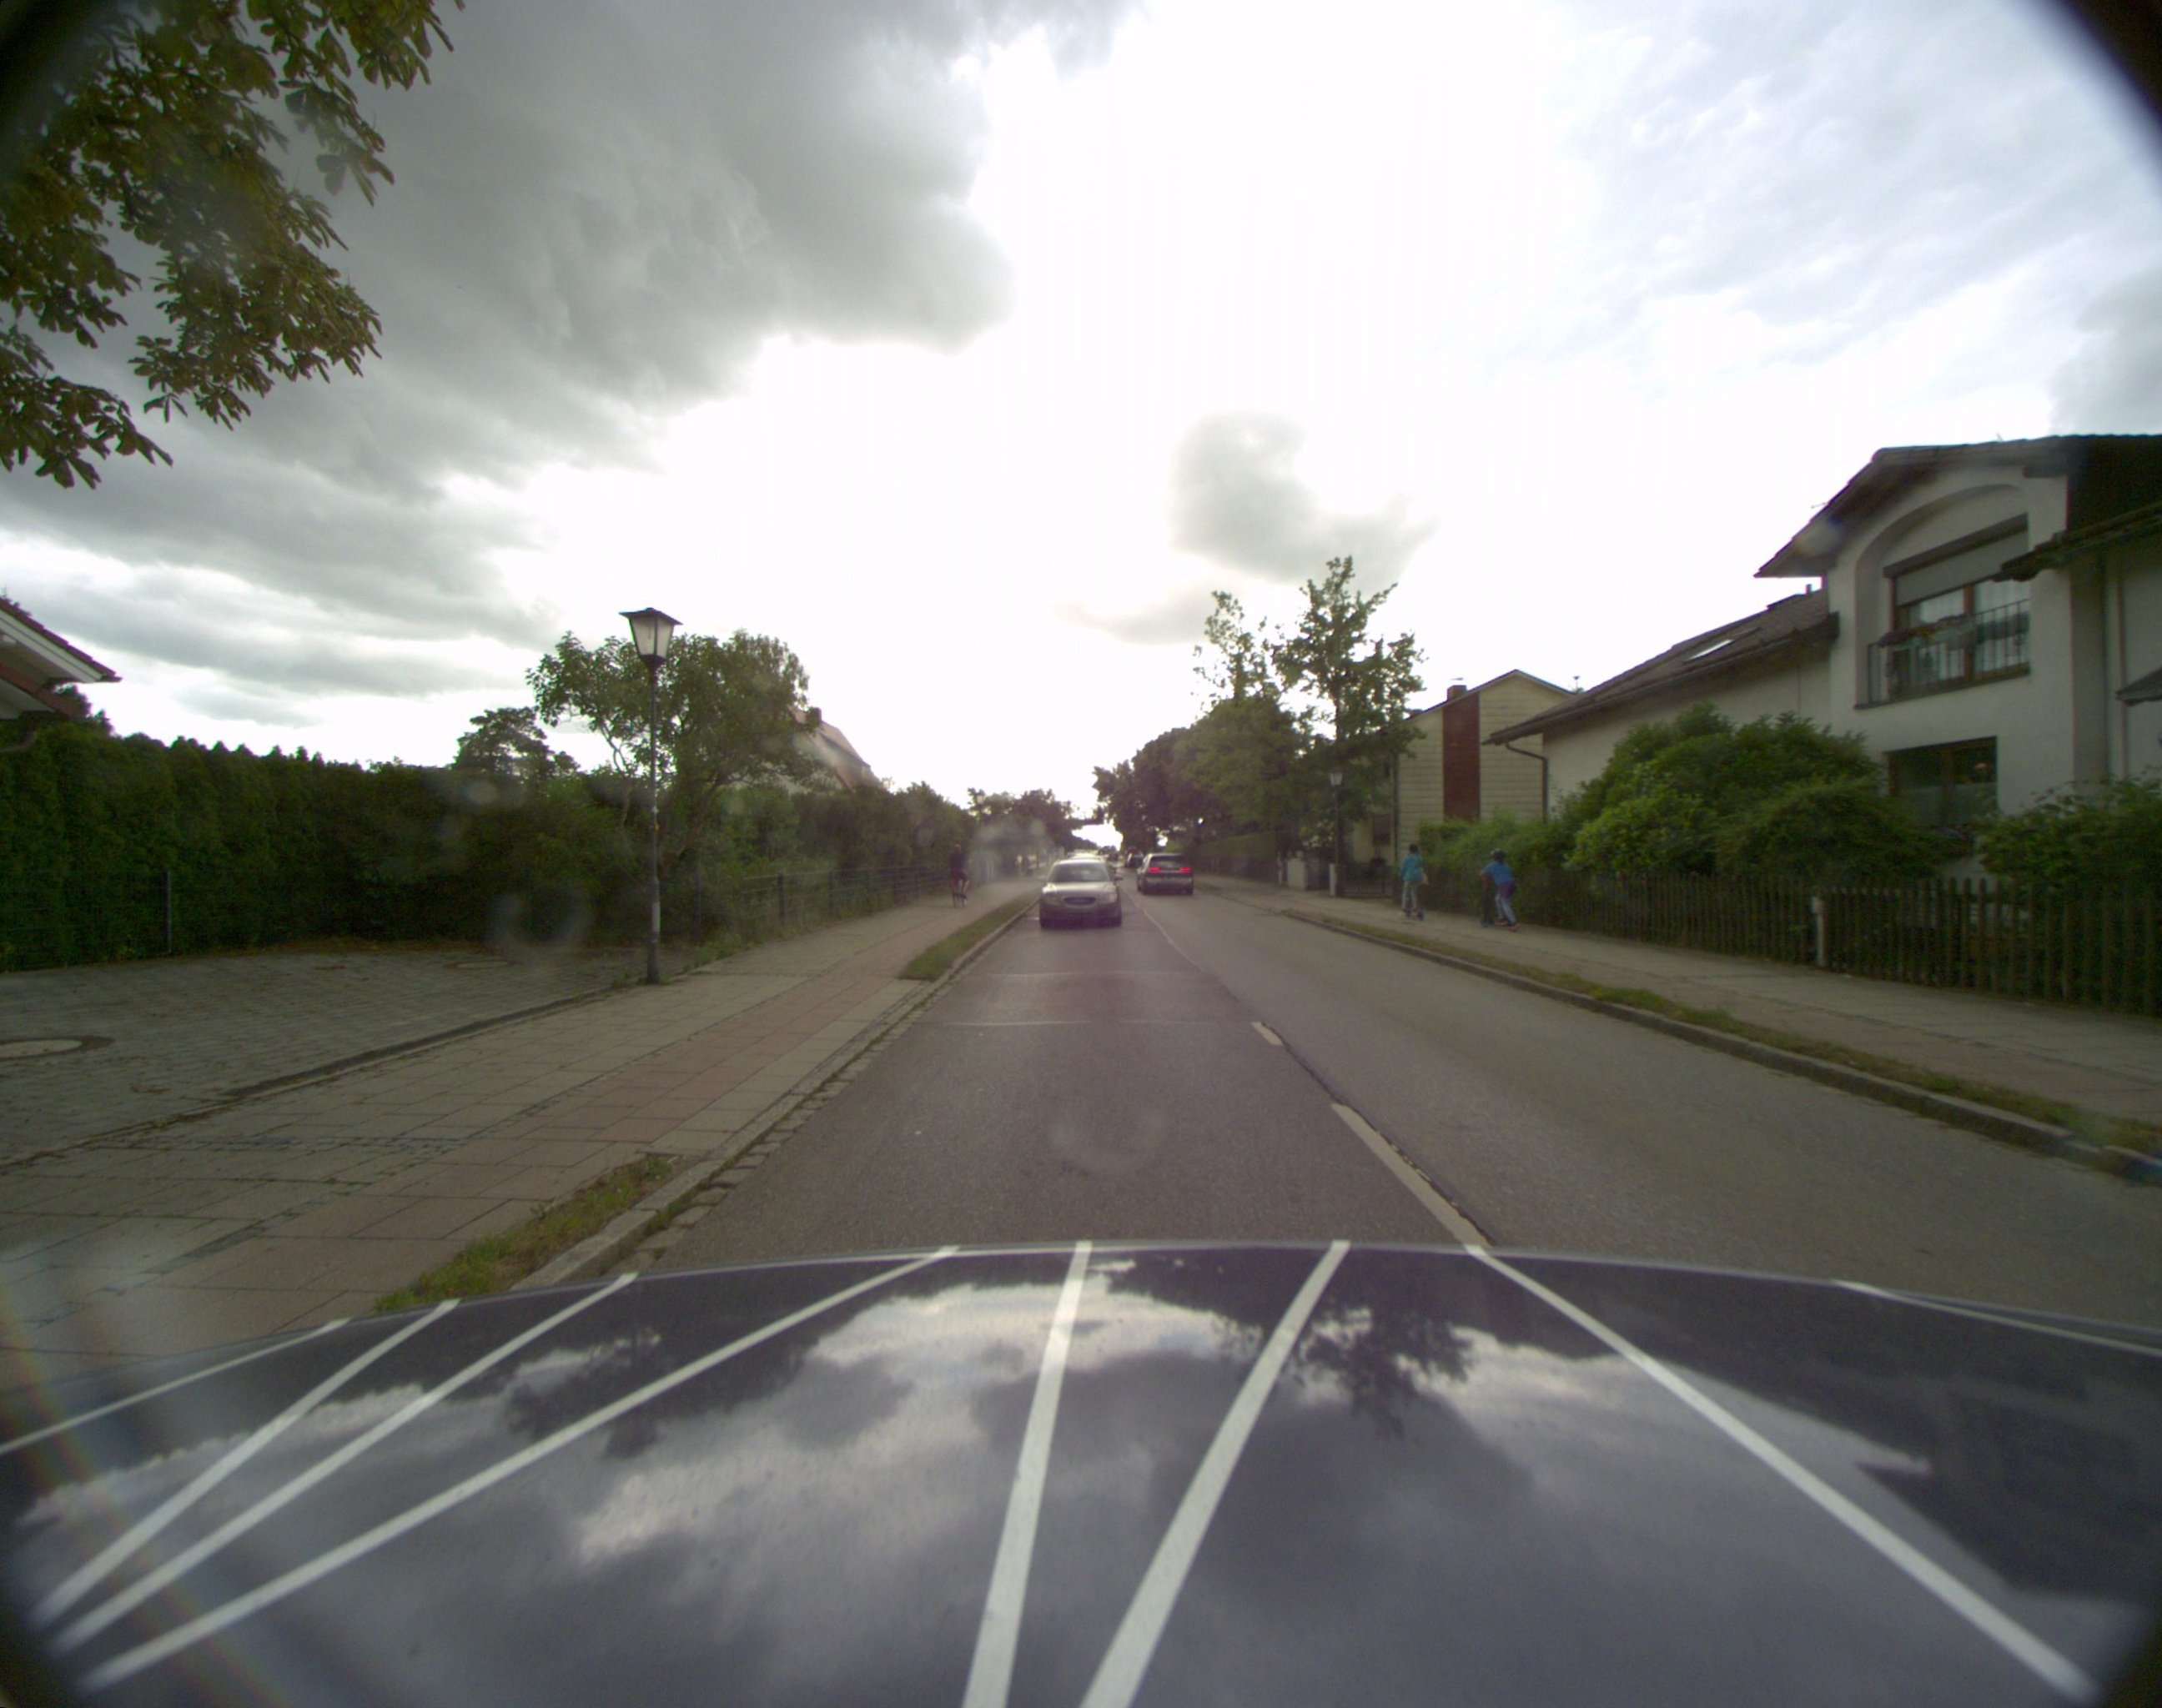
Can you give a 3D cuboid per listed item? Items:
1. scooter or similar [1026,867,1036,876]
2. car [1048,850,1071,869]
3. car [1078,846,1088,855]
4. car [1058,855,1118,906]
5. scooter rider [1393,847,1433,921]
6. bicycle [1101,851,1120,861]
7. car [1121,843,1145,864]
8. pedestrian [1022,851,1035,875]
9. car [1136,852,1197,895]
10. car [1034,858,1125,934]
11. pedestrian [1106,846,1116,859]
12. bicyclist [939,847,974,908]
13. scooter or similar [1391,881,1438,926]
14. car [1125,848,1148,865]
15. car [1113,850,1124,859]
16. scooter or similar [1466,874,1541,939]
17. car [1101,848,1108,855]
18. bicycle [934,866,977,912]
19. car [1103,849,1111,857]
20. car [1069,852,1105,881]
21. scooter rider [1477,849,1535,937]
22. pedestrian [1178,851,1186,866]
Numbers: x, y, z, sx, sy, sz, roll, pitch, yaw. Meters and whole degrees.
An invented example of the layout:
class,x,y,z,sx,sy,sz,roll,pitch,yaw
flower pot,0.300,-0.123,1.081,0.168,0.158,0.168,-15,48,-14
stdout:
class,x,y,z,sx,sy,sz,roll,pitch,yaw
scooter or similar,-3.294,1.136,49.723,0.618,0.553,0.742,-1,0,-5
car,-1.758,0.437,63.827,1.867,1.518,4.122,0,0,-1
car,0.455,-0.838,171.427,1.998,2.002,4.000,-1,0,0
car,0.234,0.840,26.375,1.866,1.518,4.942,-1,0,0
scooter rider,6.848,0.614,15.673,0.504,1.481,0.716,-1,1,2
bicycle,4.678,0.324,120.922,2.911,1.541,0.941,-1,1,23
car,5.902,-0.069,86.848,2.246,2.258,4.469,-1,0,-2
pedestrian,-3.473,0.594,50.408,0.793,1.592,0.671,-1,1,-2
car,3.305,0.716,29.988,1.935,1.566,4.311,0,0,0
car,-0.016,0.856,17.465,1.809,1.476,4.270,-1,0,0
pedestrian,4.738,-0.306,120.913,1.252,2.002,1.023,-2,1,24
bicyclist,-3.383,0.620,20.752,0.738,1.623,0.891,1,1,3
scooter or similar,6.870,1.003,15.681,0.522,0.845,1.061,-1,0,1
car,5.912,0.278,81.009,1.999,1.739,3.999,-1,0,-2
car,7.595,0.102,153.378,1.969,1.842,4.947,-1,0,1
scooter or similar,7.290,0.880,13.167,0.663,1.031,1.178,-1,0,2
car,6.578,-0.627,210.655,1.904,1.873,5.010,-1,0,1
bicycle,-3.378,0.926,20.643,0.766,1.136,1.845,1,0,2
car,6.264,-0.332,184.387,1.904,1.873,5.010,-1,0,1
car,0.311,0.645,41.800,1.866,1.518,4.122,-1,0,0
scooter rider,7.283,0.660,13.045,0.664,1.464,0.581,-1,1,1
pedestrian,9.126,0.408,68.962,0.631,1.429,0.563,-1,1,0
